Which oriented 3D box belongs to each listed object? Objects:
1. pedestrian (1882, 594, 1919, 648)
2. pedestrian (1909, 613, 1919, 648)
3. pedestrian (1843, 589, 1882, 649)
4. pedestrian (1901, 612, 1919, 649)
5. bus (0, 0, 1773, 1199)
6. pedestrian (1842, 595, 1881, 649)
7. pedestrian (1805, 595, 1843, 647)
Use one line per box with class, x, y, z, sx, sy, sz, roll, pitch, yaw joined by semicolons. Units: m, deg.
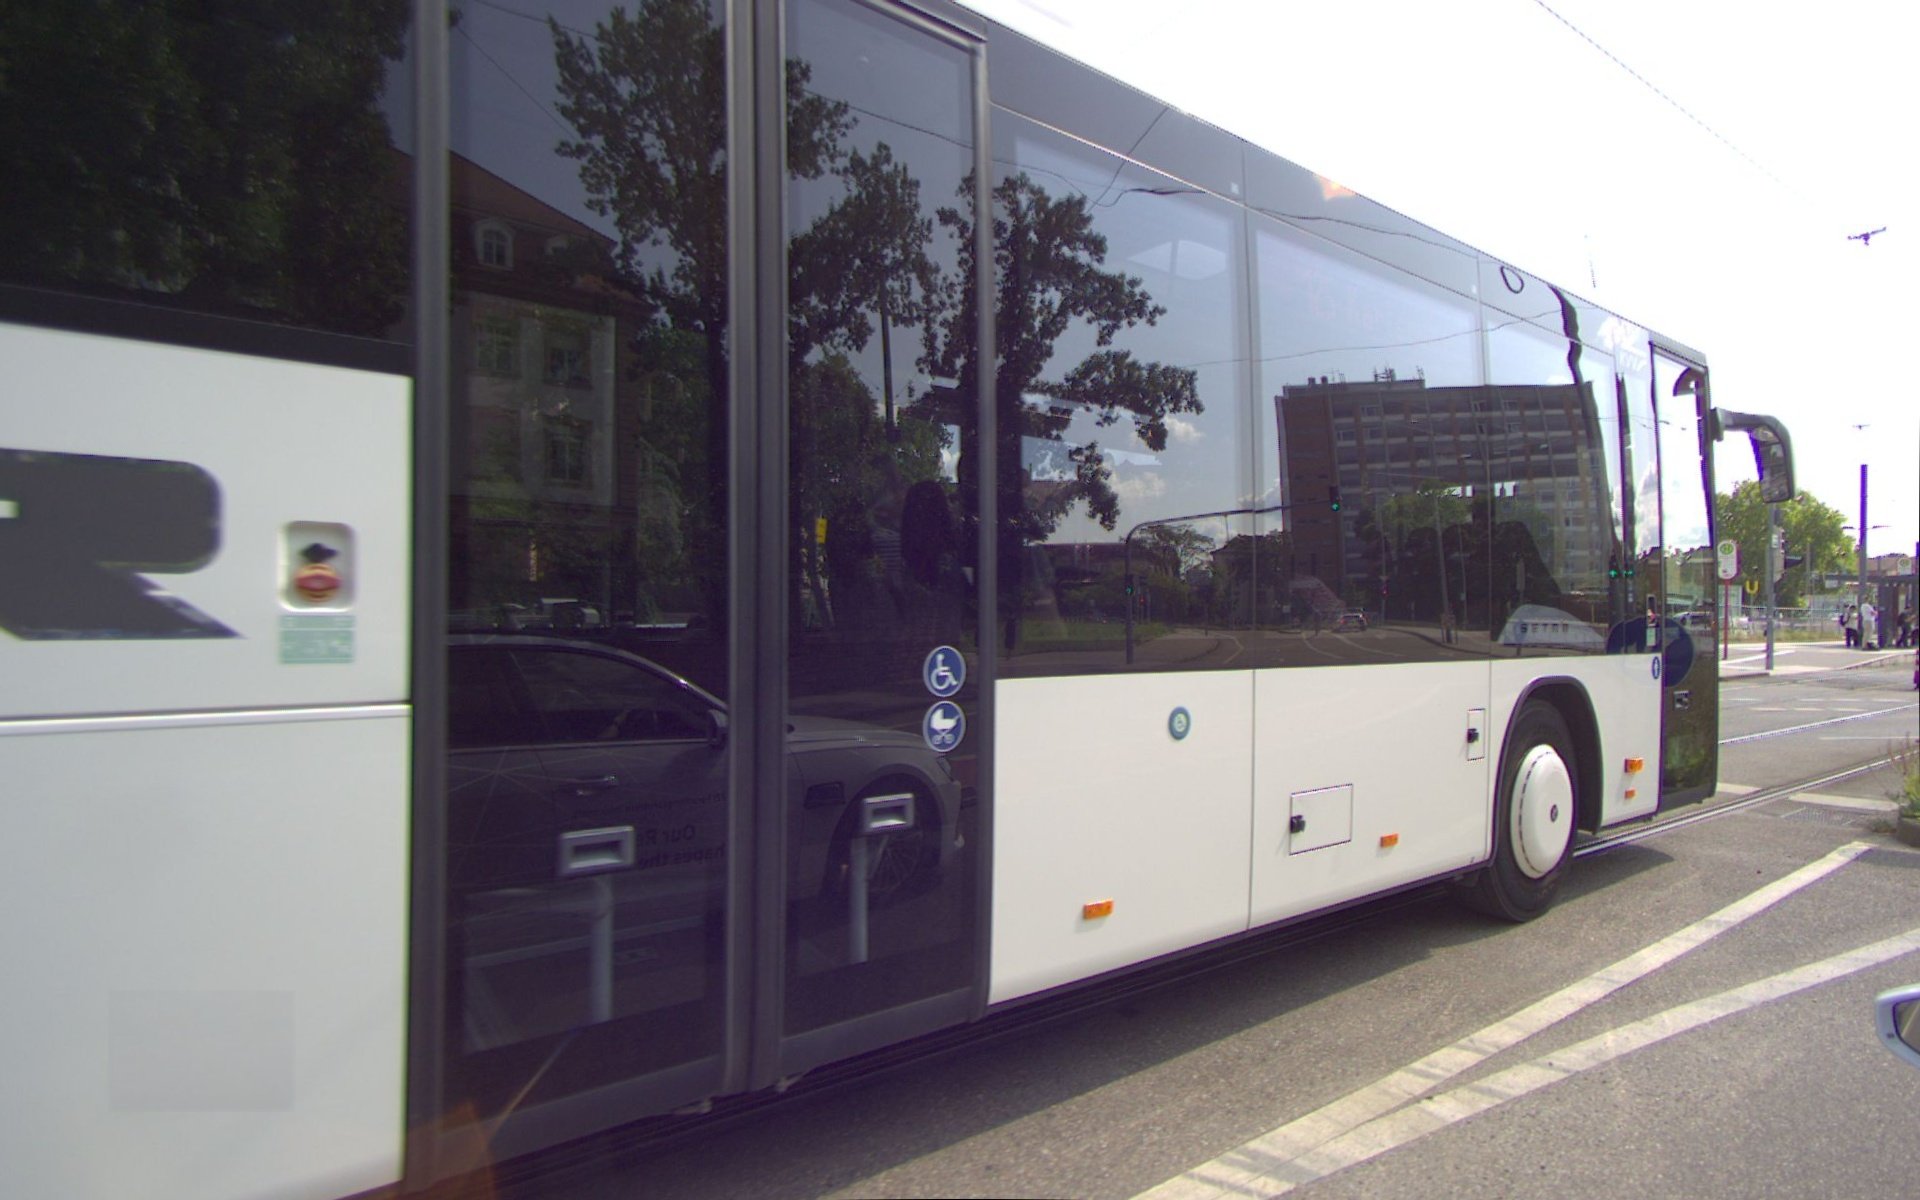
pedestrian;36.299;0.787;38.724;0.723;2.040;0.935;1;0;-33
pedestrian;39.773;1.260;41.321;0.723;1.450;0.935;1;0;-33
pedestrian;31.561;0.654;35.117;0.791;2.040;0.809;1;0;-34
pedestrian;39.053;1.242;40.869;0.723;1.450;0.935;1;0;-33
bus;-0.770;-0.276;3.631;12.092;3.372;2.897;1;0;-37
pedestrian;34.766;0.834;38.754;0.723;2.040;0.935;1;0;-33
pedestrian;33.856;0.817;39.379;0.723;2.040;0.935;1;0;-33
